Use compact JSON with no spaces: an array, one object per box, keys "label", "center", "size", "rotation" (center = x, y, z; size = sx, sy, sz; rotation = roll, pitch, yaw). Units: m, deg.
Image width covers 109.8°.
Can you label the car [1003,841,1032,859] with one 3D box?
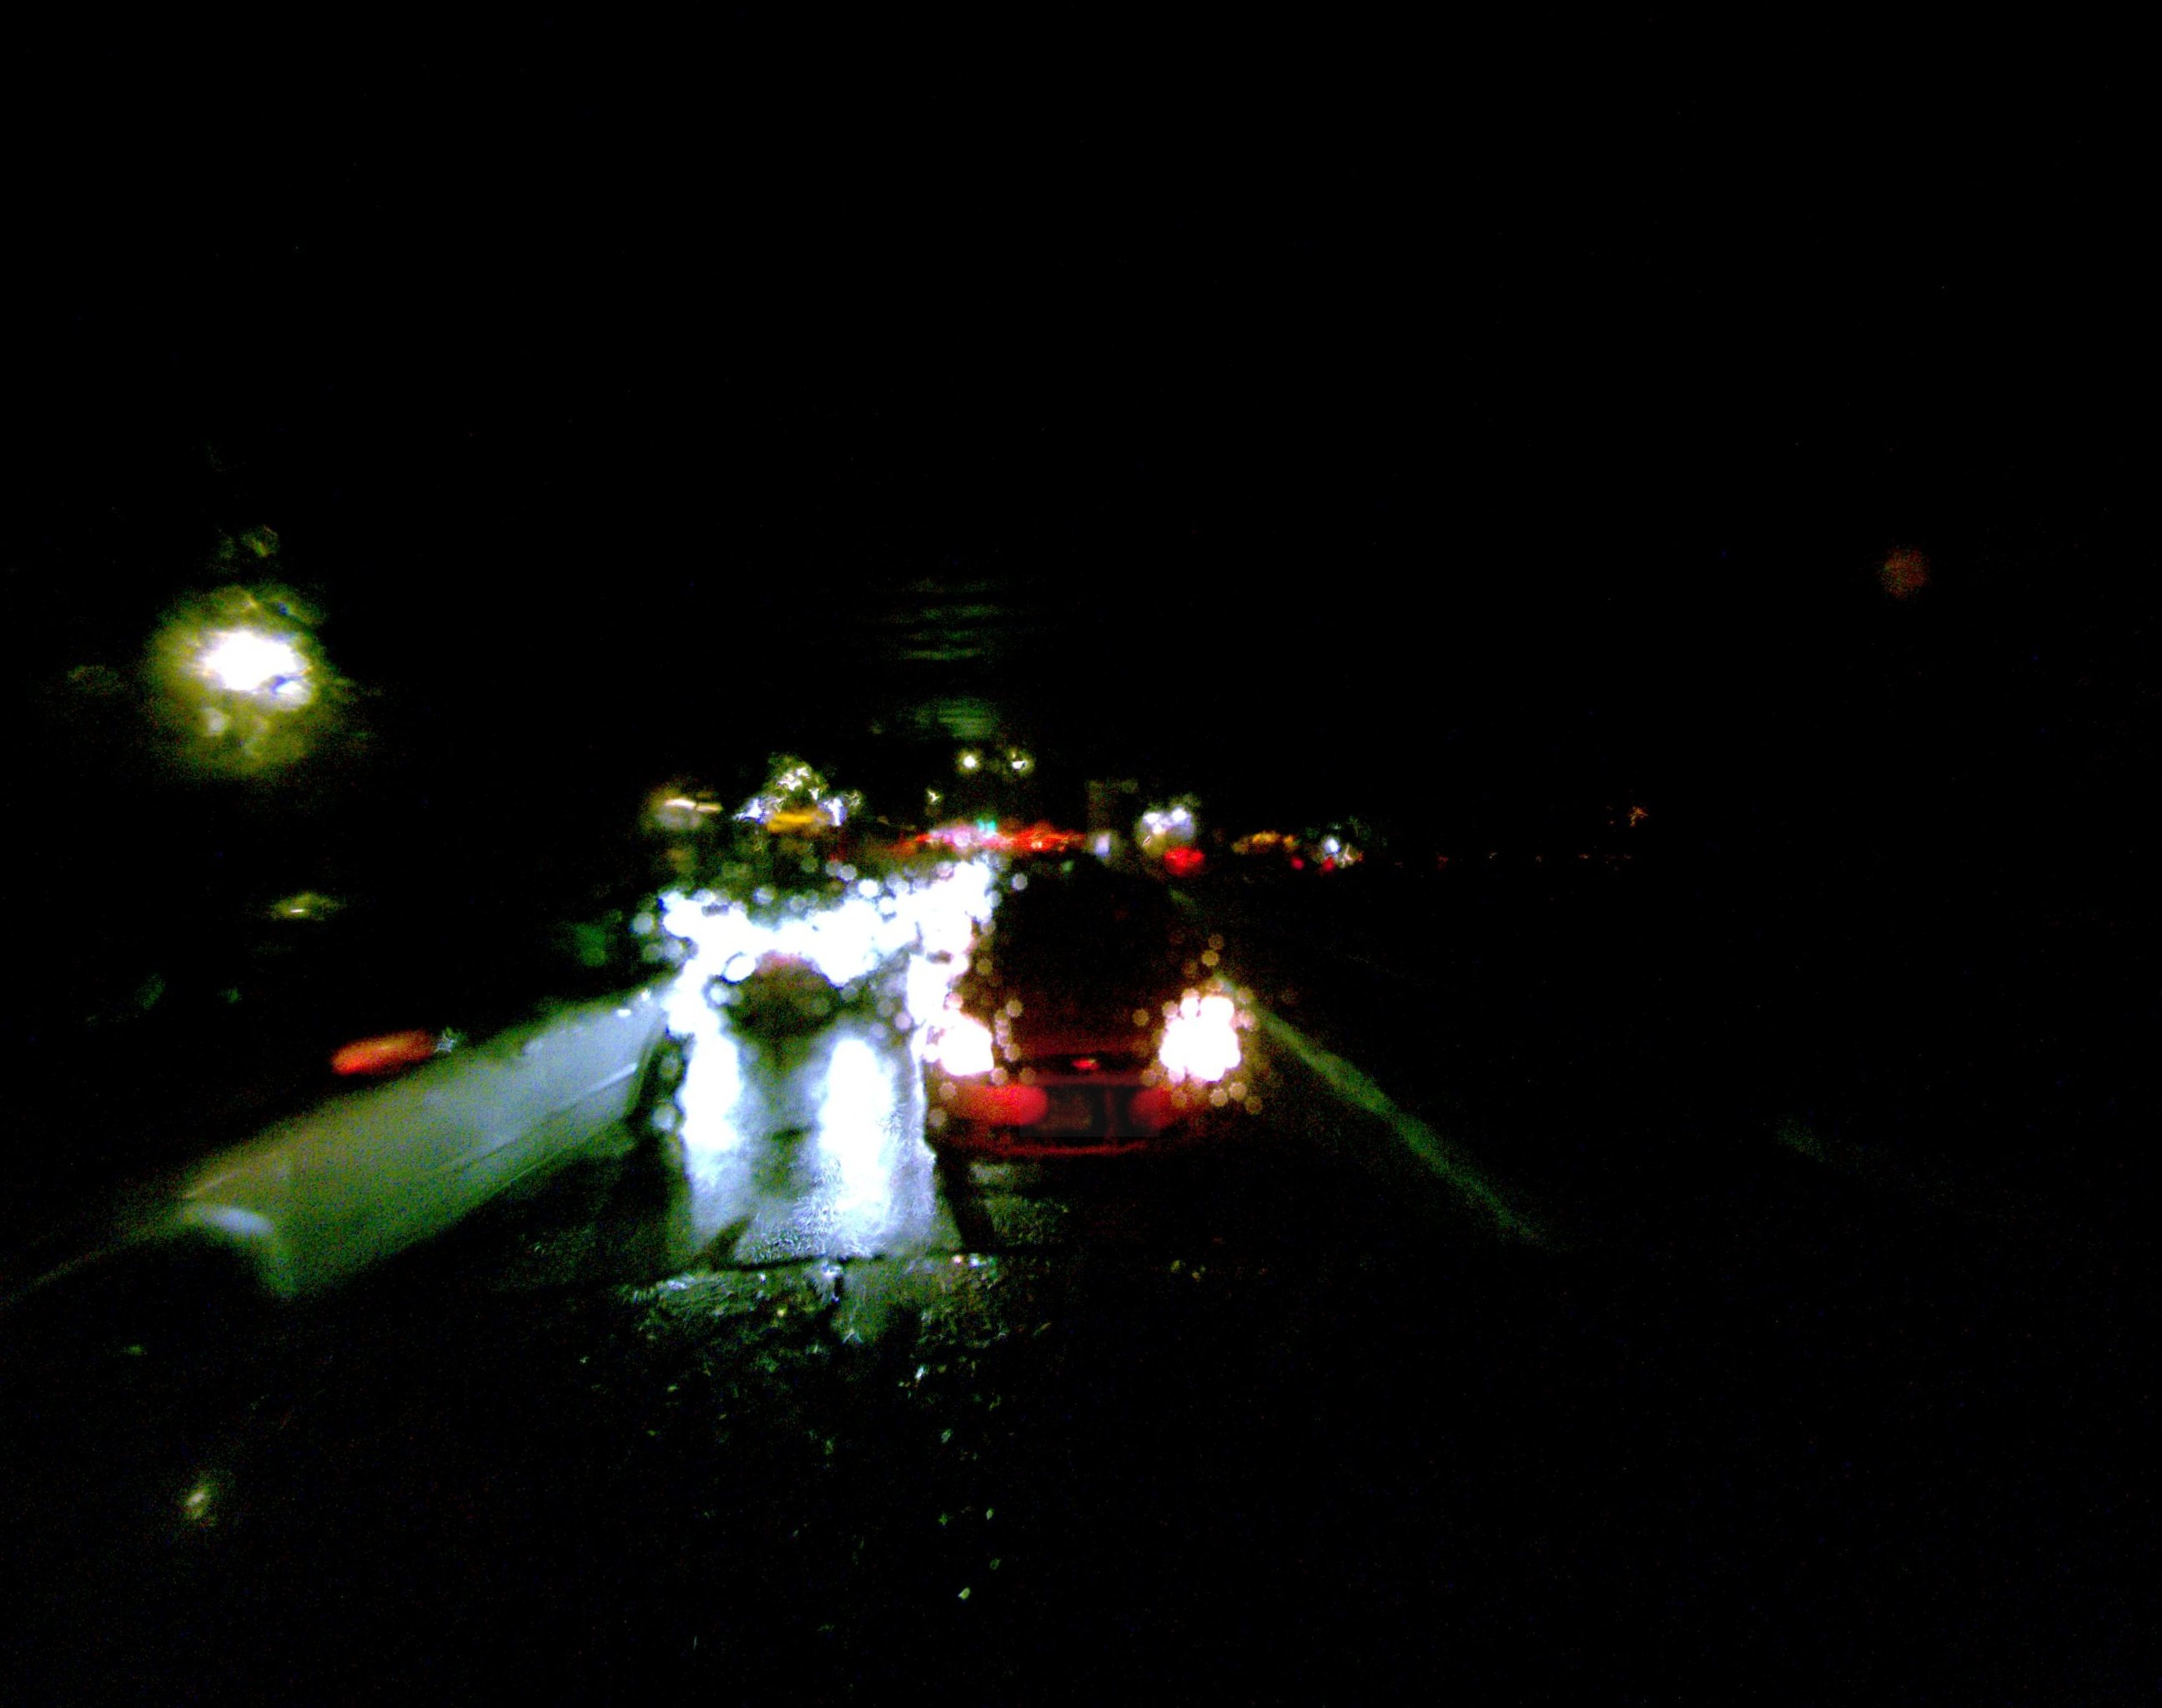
[{"label":"car","center":[-7.101,-0.420,84.489],"size":[2.002,1.915,3.992],"rotation":[-3,1,-24]}]

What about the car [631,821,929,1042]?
[{"label":"car","center":[-3.362,0.736,9.583],"size":[1.999,2.076,4.347],"rotation":[-2,1,-1]}]

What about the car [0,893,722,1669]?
[{"label":"car","center":[-3.164,1.013,2.707],"size":[1.792,1.359,3.999],"rotation":[-2,2,0]}]

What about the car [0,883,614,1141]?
[{"label":"car","center":[-6.506,1.059,6.891],"size":[1.756,1.382,4.566],"rotation":[-2,0,-1]}]

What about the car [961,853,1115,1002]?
[{"label":"car","center":[-0.460,0.839,10.623],"size":[1.683,1.591,3.996],"rotation":[-2,1,1]}]

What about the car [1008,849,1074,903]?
[{"label":"car","center":[-1.372,0.644,24.569],"size":[1.882,1.534,3.997],"rotation":[-2,1,-5]}]

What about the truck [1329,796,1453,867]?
[{"label":"truck","center":[19.726,-1.391,48.796],"size":[6.369,4.152,3.971],"rotation":[-2,1,6]}]

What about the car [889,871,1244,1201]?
[{"label":"car","center":[-0.040,0.897,5.513],"size":[1.603,1.360,3.942],"rotation":[-2,1,1]}]

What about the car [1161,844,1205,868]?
[{"label":"car","center":[7.188,0.127,54.035],"size":[1.824,1.595,4.139],"rotation":[-2,1,-10]}]

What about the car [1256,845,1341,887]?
[{"label":"car","center":[9.014,0.452,31.877],"size":[2.000,1.596,3.997],"rotation":[-2,1,-7]}]

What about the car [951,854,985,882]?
[{"label":"car","center":[-6.627,0.786,44.384],"size":[1.684,1.463,3.995],"rotation":[-2,1,-12]}]

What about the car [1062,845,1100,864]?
[{"label":"car","center":[-0.040,0.059,64.663],"size":[2.001,1.510,3.994],"rotation":[-2,1,-18]}]

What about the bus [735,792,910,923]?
[{"label":"bus","center":[-7.389,0.092,23.433],"size":[2.777,3.105,9.757],"rotation":[-2,0,-5]}]

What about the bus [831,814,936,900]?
[{"label":"bus","center":[-8.265,0.127,33.146],"size":[2.777,3.105,9.757],"rotation":[-2,0,-5]}]

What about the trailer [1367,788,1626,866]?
[{"label":"trailer","center":[25.893,-1.623,48.212],"size":[13.903,4.152,3.971],"rotation":[-2,1,6]}]

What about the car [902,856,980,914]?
[{"label":"car","center":[-4.097,0.853,22.786],"size":[1.629,1.494,3.999],"rotation":[-2,1,-1]}]

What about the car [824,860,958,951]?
[{"label":"car","center":[-3.700,0.932,15.479],"size":[1.869,1.503,3.765],"rotation":[-2,1,-3]}]

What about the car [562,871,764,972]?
[{"label":"car","center":[-7.164,1.073,13.506],"size":[1.755,1.422,3.758],"rotation":[-1,0,-5]}]
